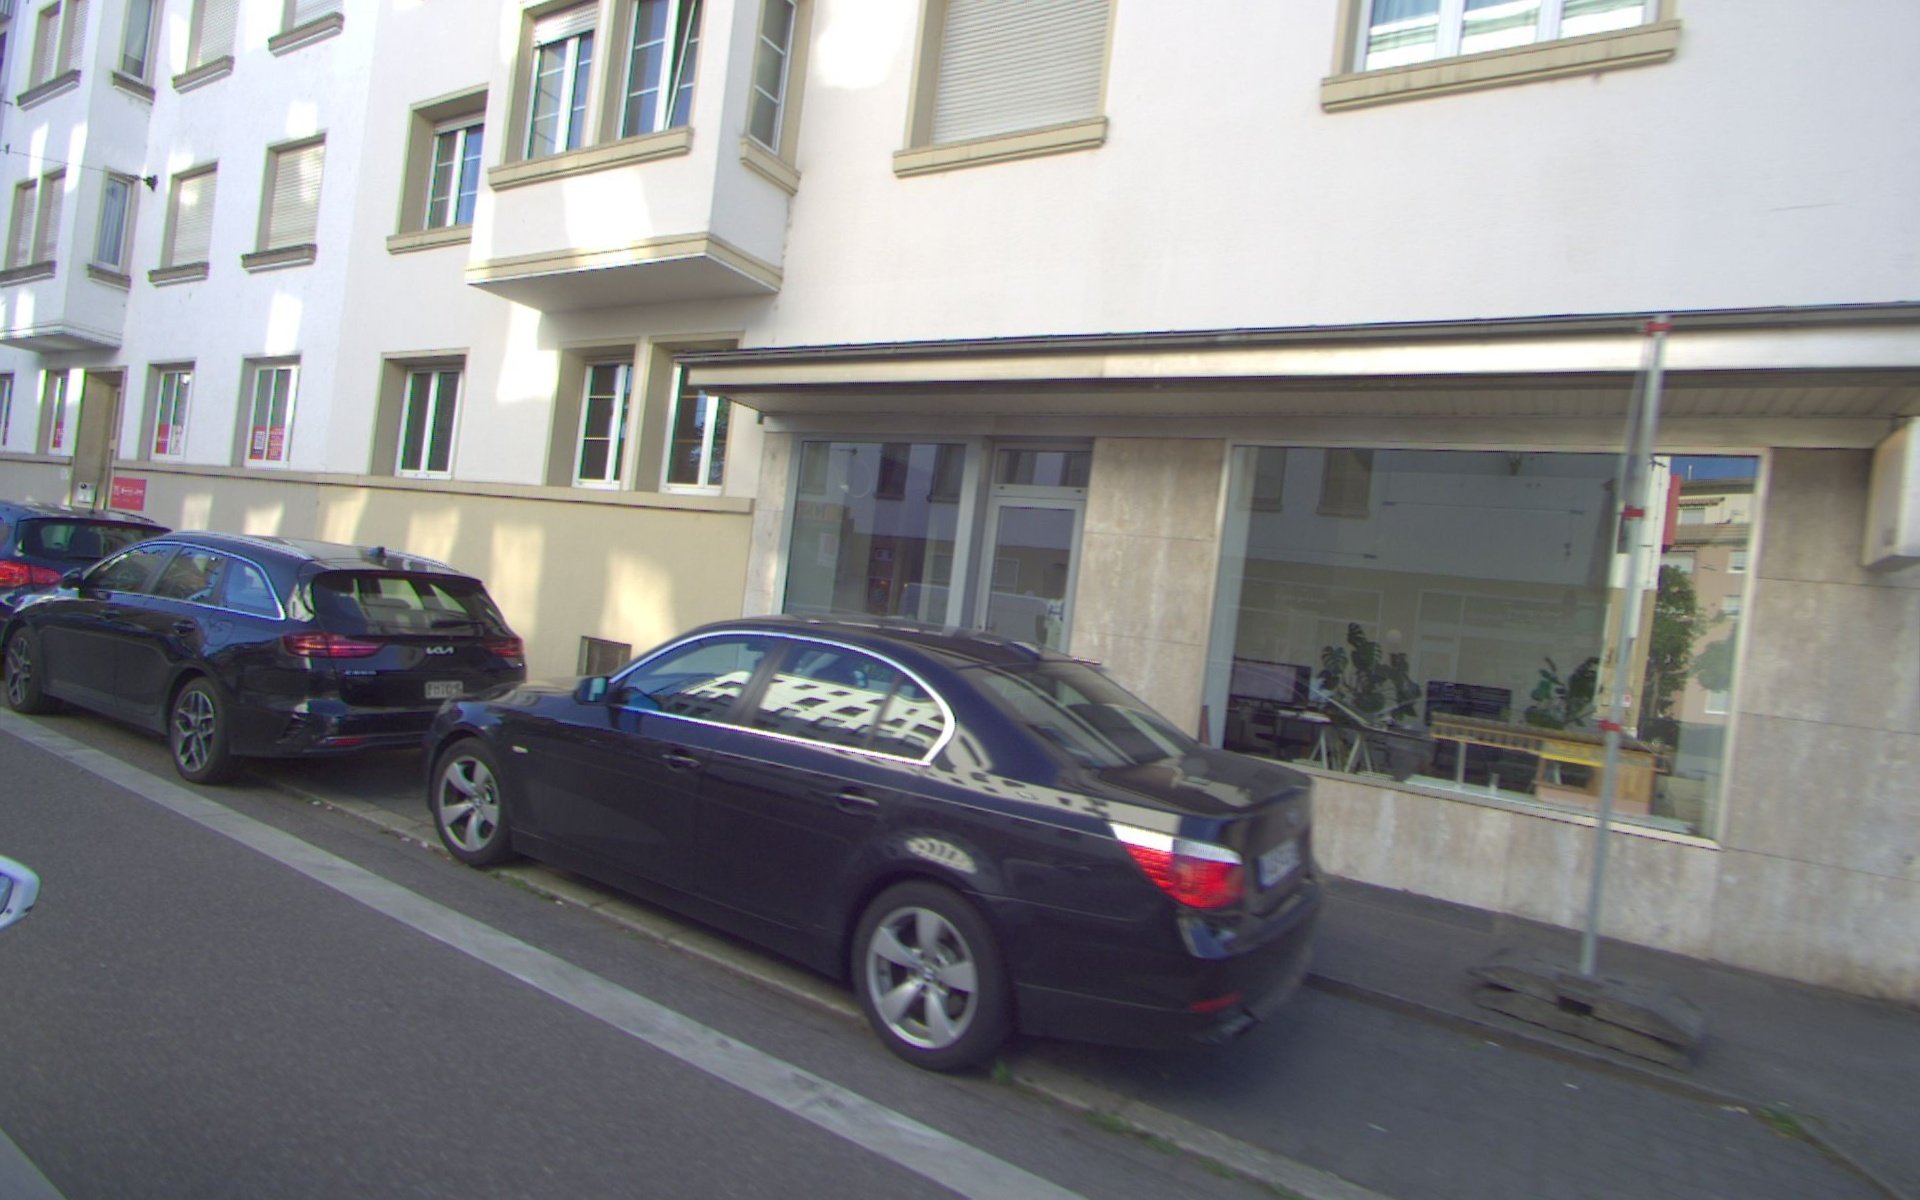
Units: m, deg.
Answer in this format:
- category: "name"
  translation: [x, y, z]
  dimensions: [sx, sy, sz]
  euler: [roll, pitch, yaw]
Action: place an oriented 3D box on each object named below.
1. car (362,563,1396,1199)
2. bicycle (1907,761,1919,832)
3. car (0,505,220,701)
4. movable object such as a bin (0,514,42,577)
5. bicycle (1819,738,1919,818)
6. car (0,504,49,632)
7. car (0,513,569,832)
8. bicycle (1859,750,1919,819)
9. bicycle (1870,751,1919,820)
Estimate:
- category: "car"
  translation: [-0.699, 0.821, 4.879]
  dimensions: [4.839, 1.527, 1.749]
  euler: [6, 1, 33]
- category: "bicycle"
  translation: [17.293, 3.458, 16.767]
  dimensions: [2.000, 1.165, 0.661]
  euler: [7, 0, 32]
- category: "car"
  translation: [-9.017, -0.109, 9.534]
  dimensions: [4.029, 1.527, 1.858]
  euler: [6, 1, 33]
- category: "movable object such as a bin"
  translation: [-17.277, -1.005, 18.337]
  dimensions: [0.545, 1.069, 0.559]
  euler: [7, -1, 30]
- category: "bicycle"
  translation: [17.168, 3.268, 17.675]
  dimensions: [2.972, 1.165, 0.671]
  euler: [7, 0, 32]
- category: "car"
  translation: [-13.209, -0.574, 12.454]
  dimensions: [3.923, 1.492, 1.858]
  euler: [6, 1, 33]
- category: "car"
  translation: [-5.171, 0.333, 7.331]
  dimensions: [4.429, 1.527, 1.859]
  euler: [6, 1, 29]
- category: "bicycle"
  translation: [18.935, 3.704, 19.518]
  dimensions: [2.000, 1.165, 0.661]
  euler: [9, 1, 32]
- category: "bicycle"
  translation: [18.555, 3.626, 18.857]
  dimensions: [2.000, 1.165, 0.661]
  euler: [9, 1, 32]
